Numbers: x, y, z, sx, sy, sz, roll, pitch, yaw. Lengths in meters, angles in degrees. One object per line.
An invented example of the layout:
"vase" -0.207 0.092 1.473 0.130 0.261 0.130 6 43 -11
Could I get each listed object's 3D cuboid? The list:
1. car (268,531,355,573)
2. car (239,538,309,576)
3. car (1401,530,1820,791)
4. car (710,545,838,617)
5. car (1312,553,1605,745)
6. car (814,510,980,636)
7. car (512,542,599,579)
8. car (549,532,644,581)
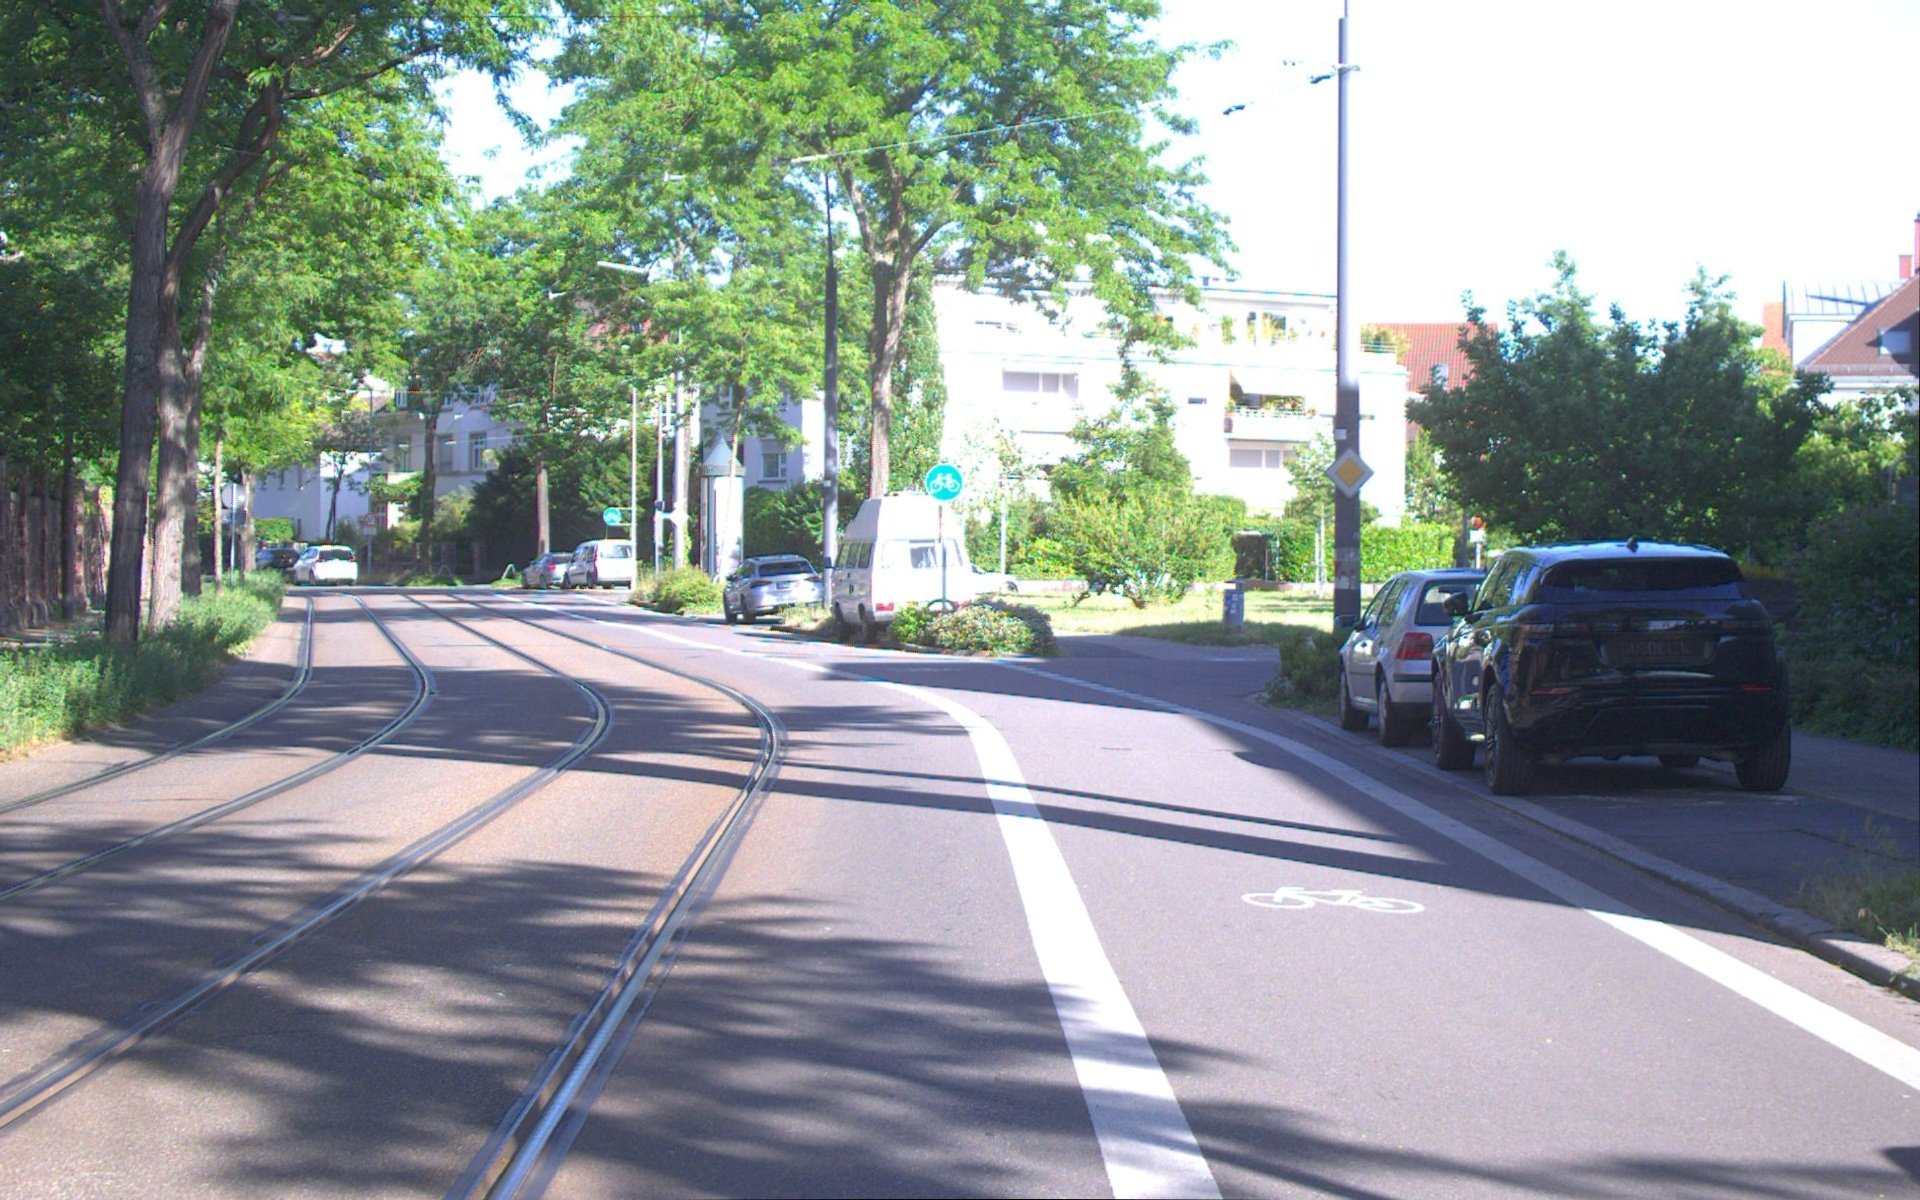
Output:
"car" -26.671 -1.968 141.300 1.893 1.605 4.228 1 -1 -36
"car" -32.408 -2.041 162.297 1.804 1.688 4.729 -4 3 -29
"car" 4.346 0.356 23.710 1.993 1.611 4.601 0 1 0
"car" -4.244 -0.451 77.644 2.000 1.460 5.434 -3 1 -12
"car" 4.178 0.364 29.459 1.738 1.490 4.530 1 1 -1
"car" -1.136 -0.485 59.574 1.993 2.088 4.718 0 1 -12
"car" -15.638 -1.508 132.776 1.993 1.418 4.333 0 0 -26
"car" -13.460 -1.622 127.174 2.022 1.741 4.753 0 1 -26
